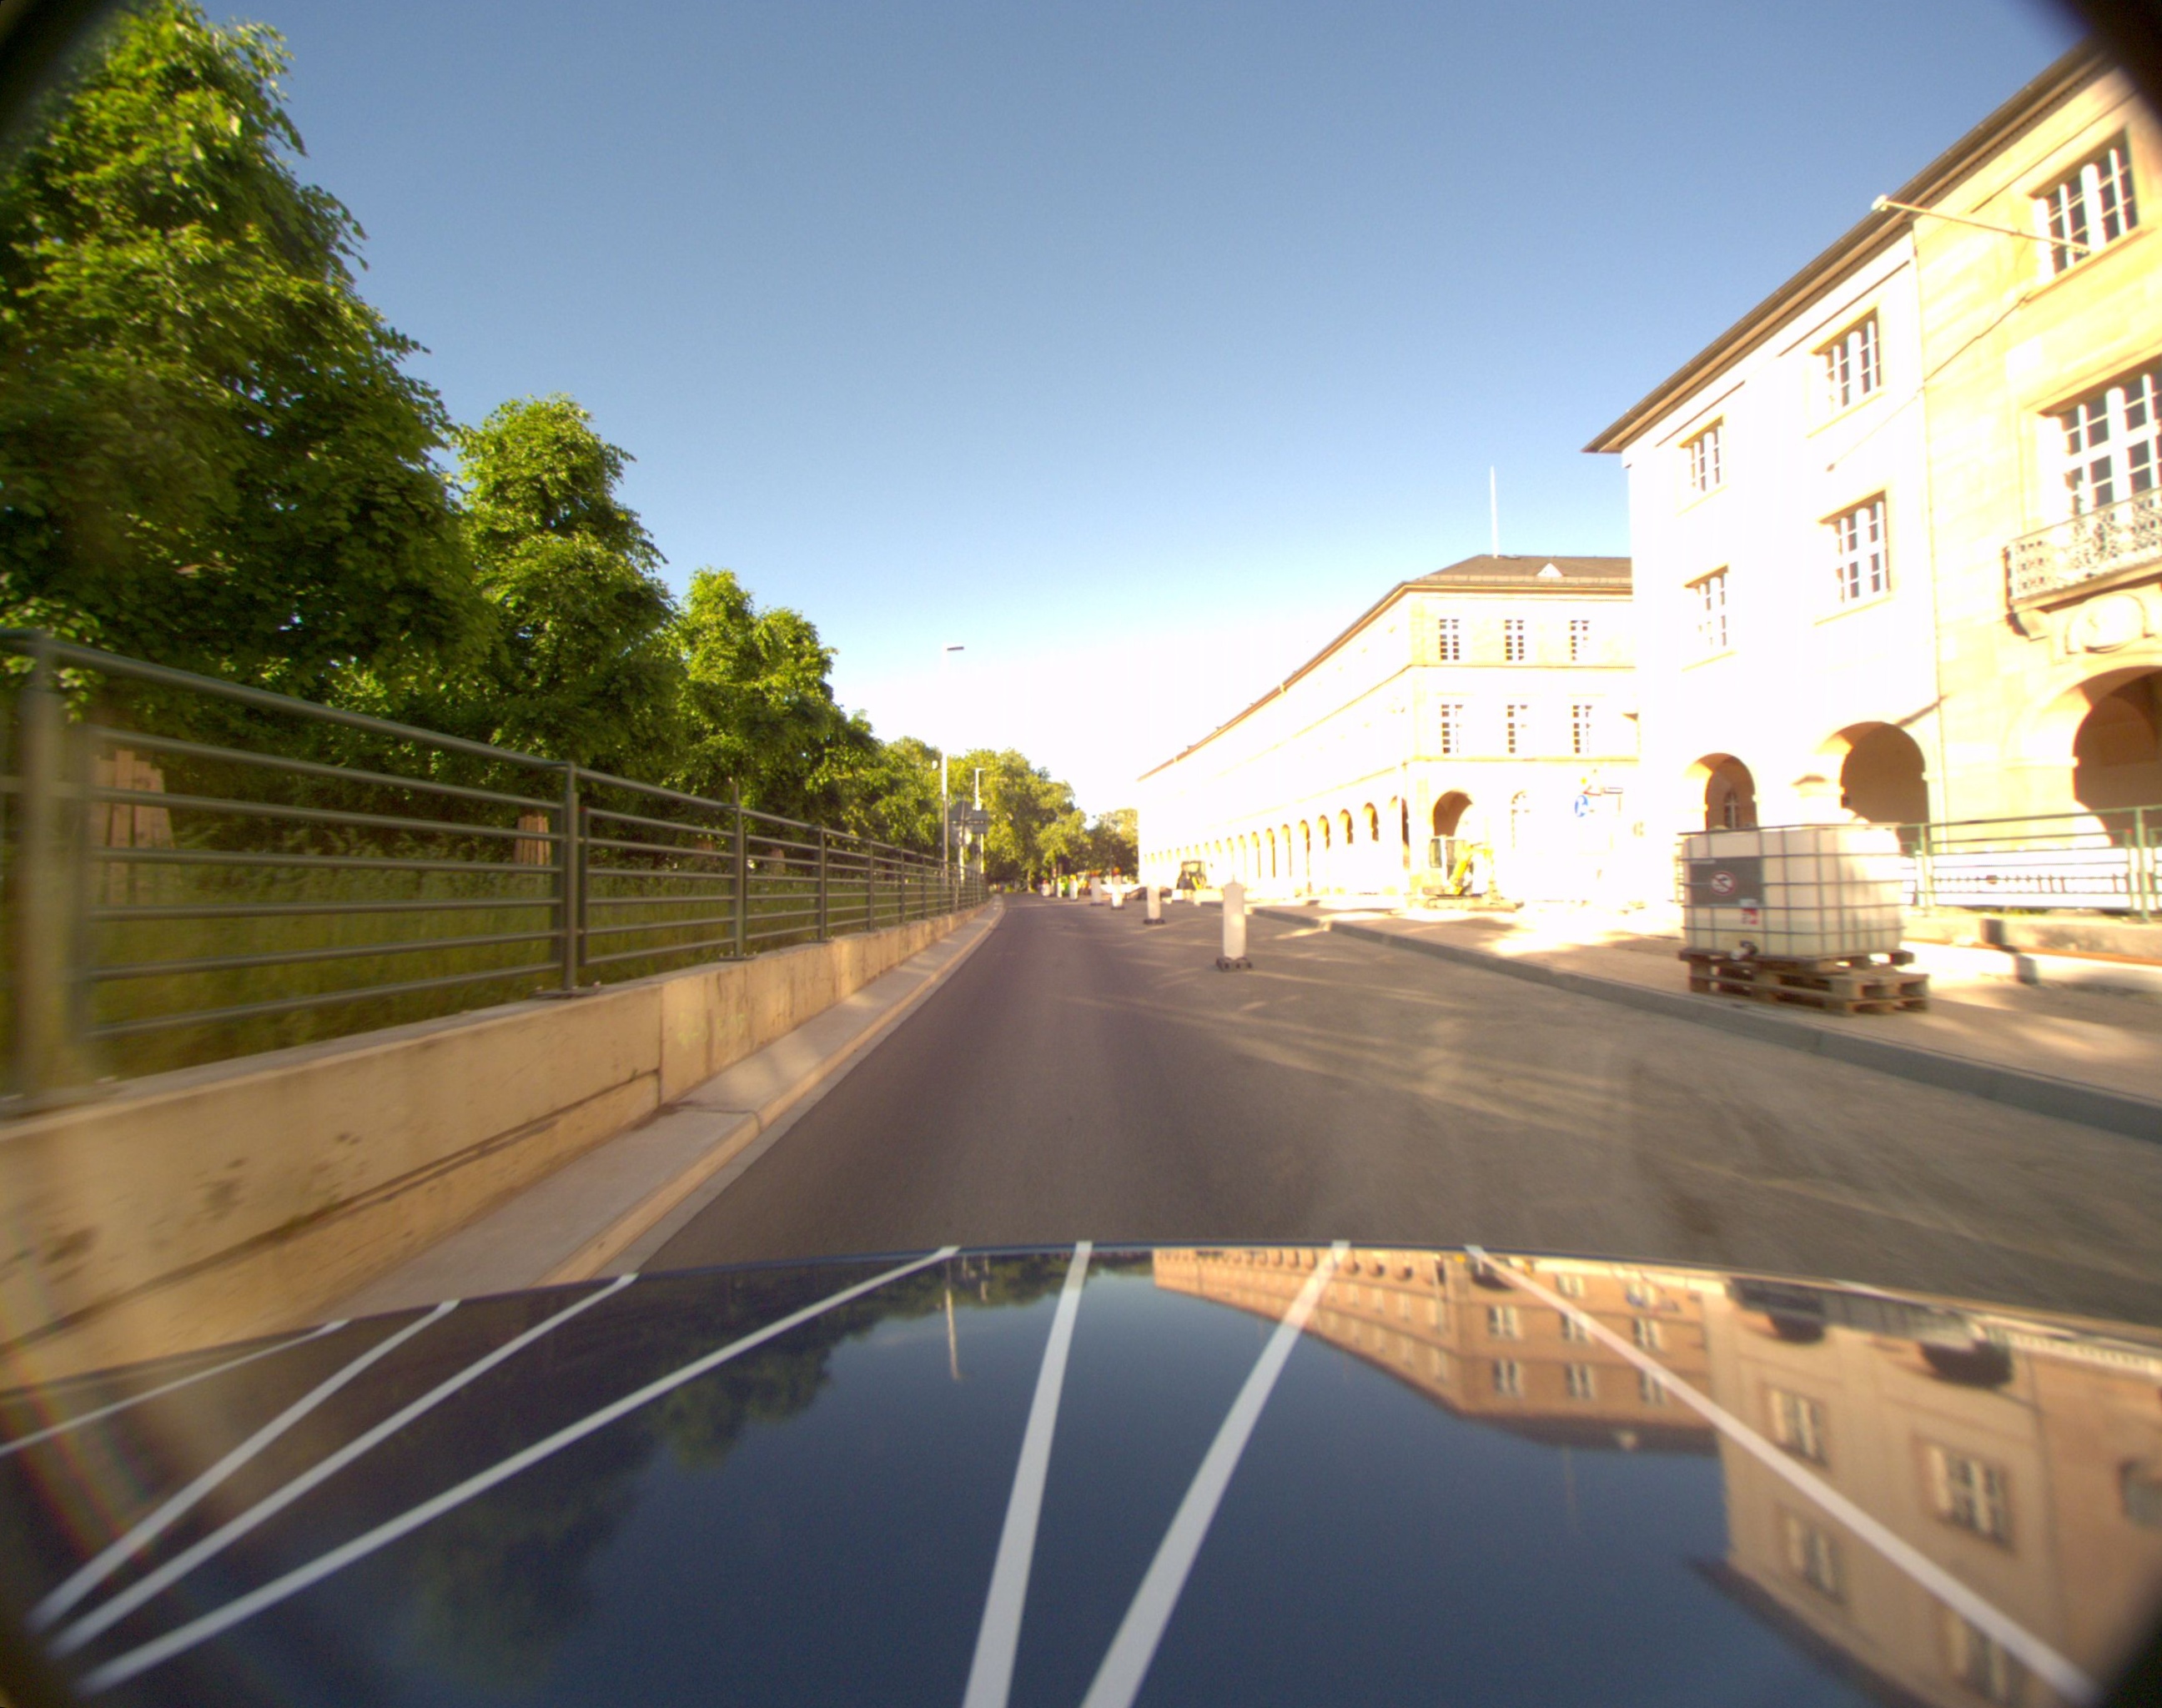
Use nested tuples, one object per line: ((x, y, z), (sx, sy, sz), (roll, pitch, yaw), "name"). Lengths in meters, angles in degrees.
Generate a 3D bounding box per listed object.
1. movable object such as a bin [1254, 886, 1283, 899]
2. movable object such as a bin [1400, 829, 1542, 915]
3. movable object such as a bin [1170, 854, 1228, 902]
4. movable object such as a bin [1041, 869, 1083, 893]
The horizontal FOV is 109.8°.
((10.286, 2.085, 41.677), (1.191, 0.694, 1.240), (0, -2, -7), "movable object such as a bin")
((11.819, 0.550, 23.392), (2.105, 2.381, 4.308), (1, -1, -1), "movable object such as a bin")
((6.311, 1.301, 41.146), (1.796, 2.437, 4.535), (0, -2, -8), "movable object such as a bin")
((-1.659, 2.407, 67.081), (3.246, 2.064, 2.107), (0, -2, -18), "movable object such as a bin")
